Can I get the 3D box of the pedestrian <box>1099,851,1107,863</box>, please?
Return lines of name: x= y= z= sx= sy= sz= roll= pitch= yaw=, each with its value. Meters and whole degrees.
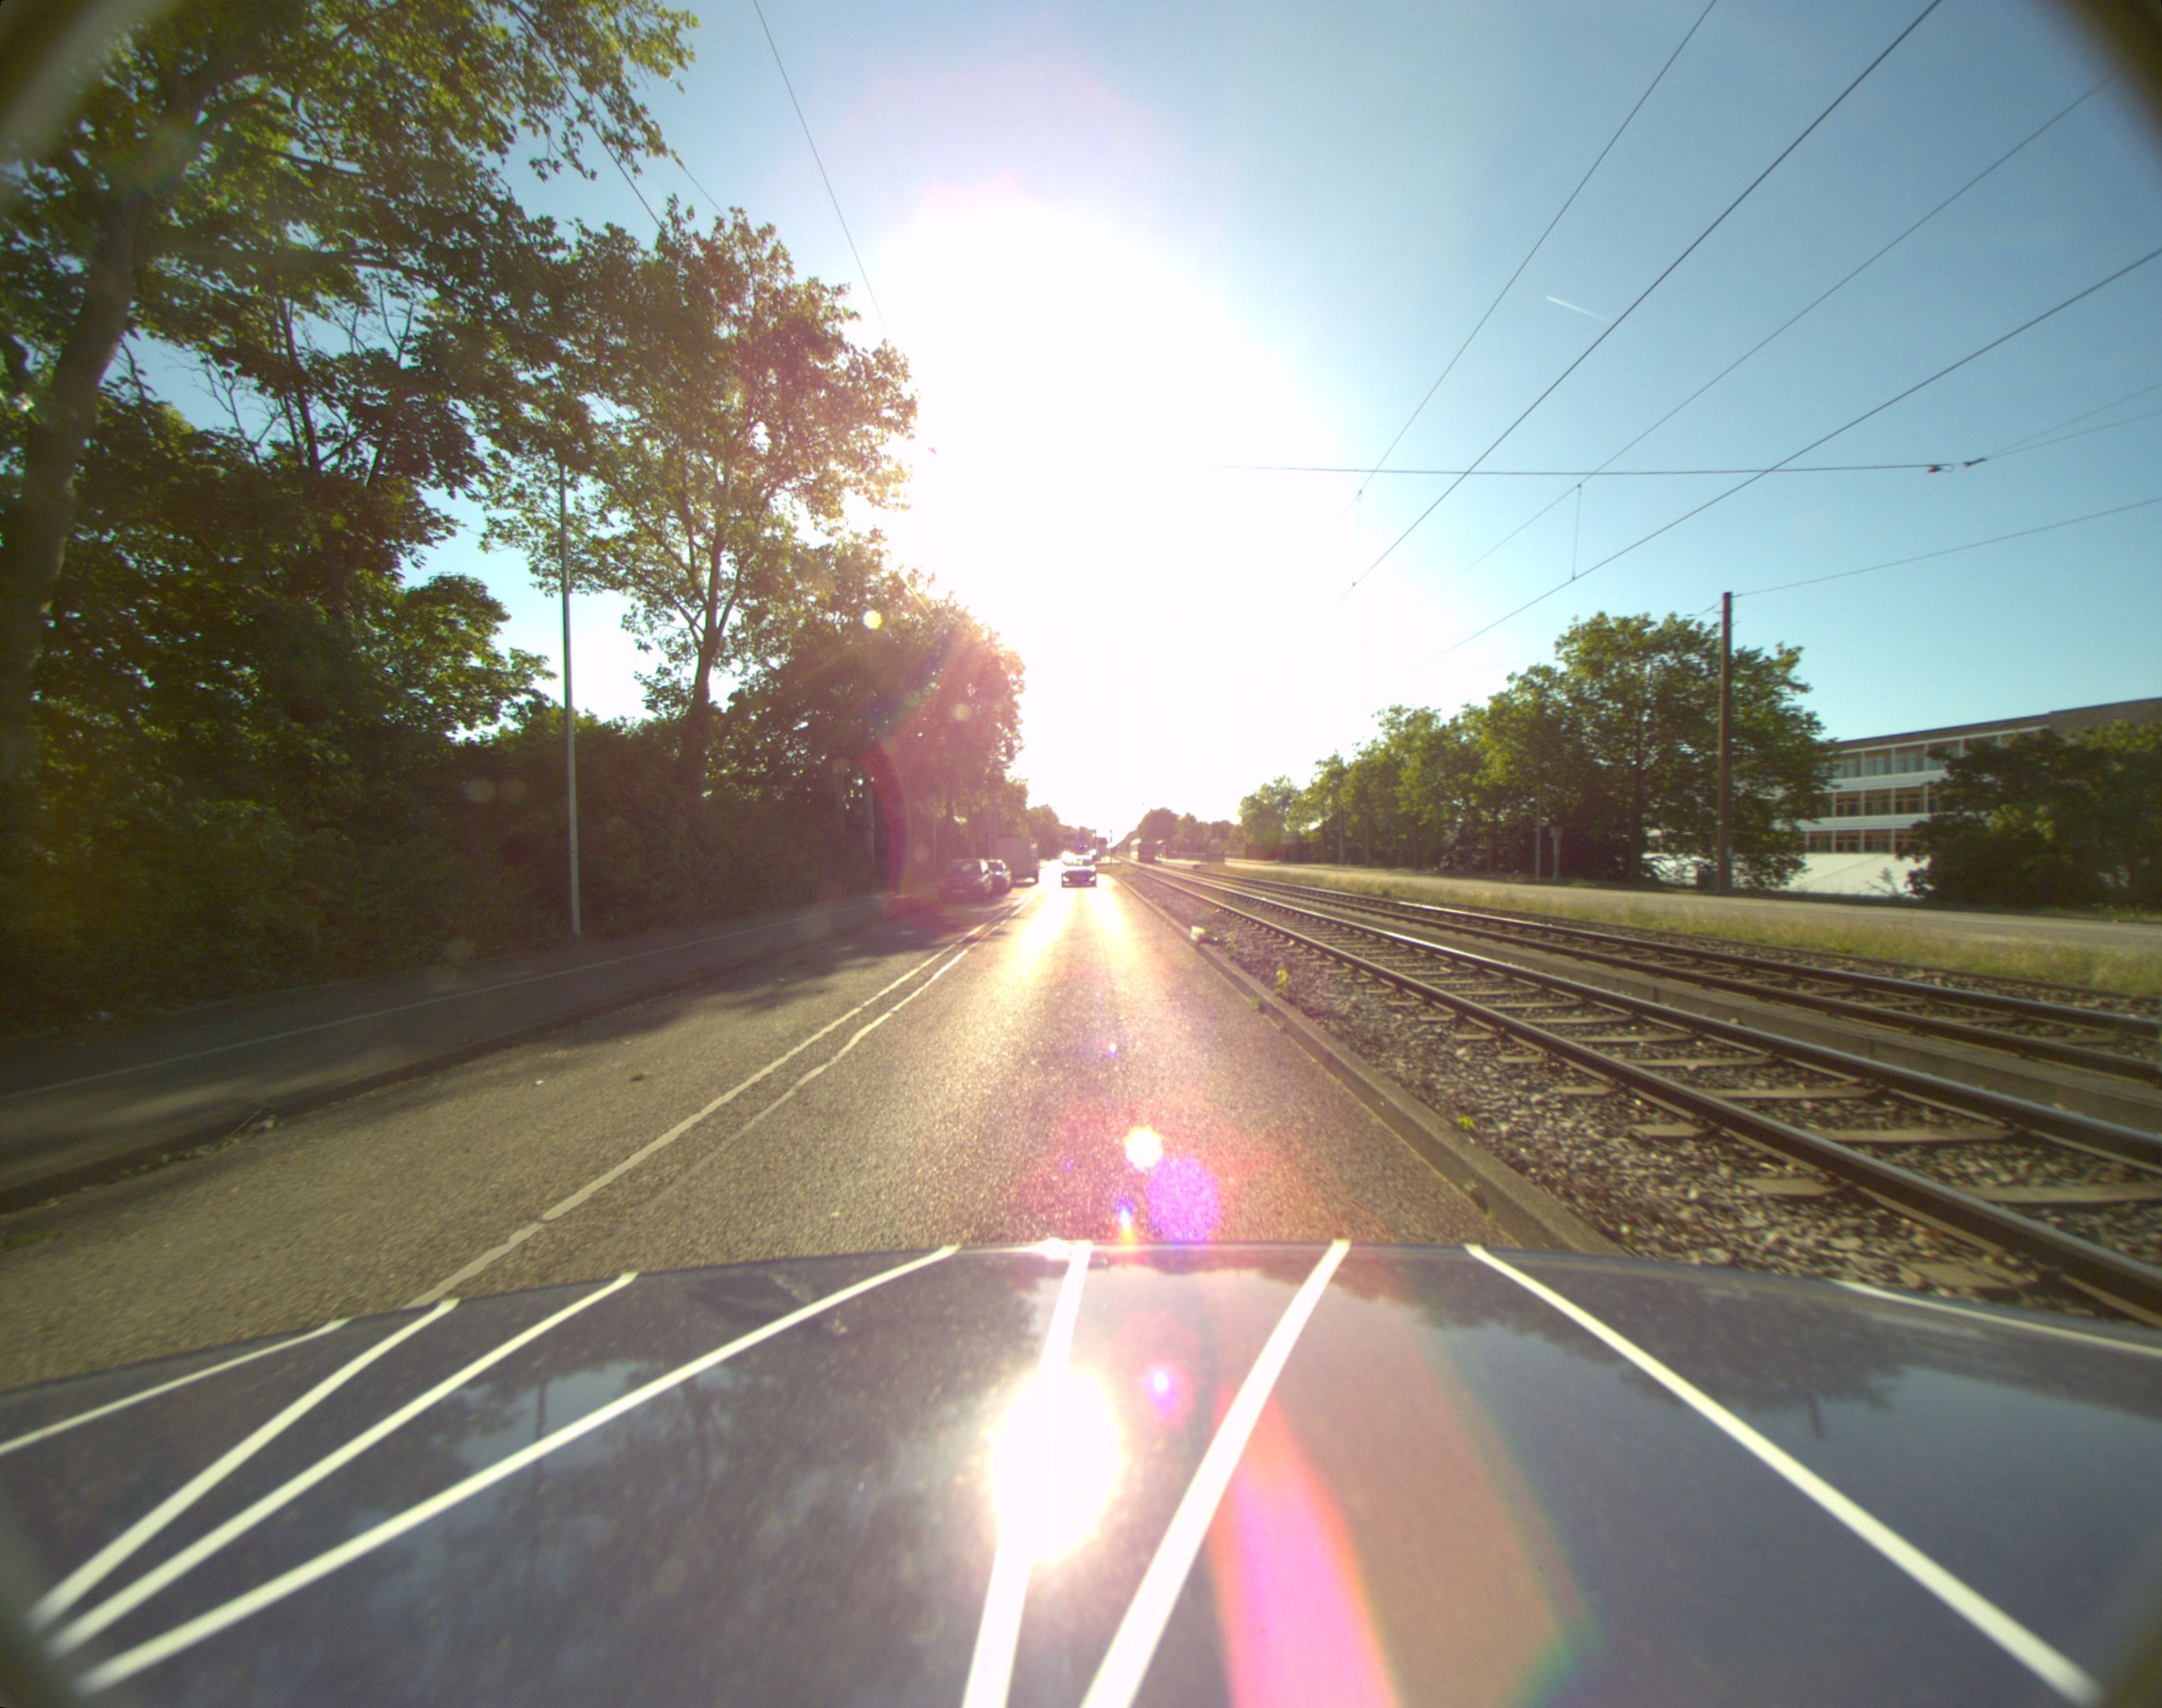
pedestrian: x=2.758 y=0.354 z=94.851 sx=0.760 sy=1.485 sz=0.696 roll=-1 pitch=1 yaw=34

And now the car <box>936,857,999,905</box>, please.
car: x=-4.122 y=0.954 z=28.150 sx=1.644 sy=1.528 sz=3.640 roll=-4 pitch=0 yaw=1

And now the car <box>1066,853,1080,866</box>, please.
car: x=-1.082 y=0.742 z=101.283 sx=1.784 sy=1.586 sz=4.000 roll=-1 pitch=0 yaw=1

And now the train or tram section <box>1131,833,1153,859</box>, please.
train or tram section: x=10.220 y=-1.387 z=129.000 sx=2.834 sy=3.983 sz=15.874 roll=-2 pitch=1 yaw=2

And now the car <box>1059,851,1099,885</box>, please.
car: x=-0.055 y=0.685 z=38.641 sx=1.786 sy=1.530 sz=4.000 roll=-3 pitch=0 yaw=2

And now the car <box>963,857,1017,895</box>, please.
car: x=-3.933 y=0.923 z=33.337 sx=1.813 sy=1.448 sz=4.165 roll=-3 pitch=1 yaw=0

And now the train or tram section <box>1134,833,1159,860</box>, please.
train or tram section: x=9.761 y=-1.158 z=114.612 sx=2.834 sy=3.665 sz=12.968 roll=-2 pitch=1 yaw=2

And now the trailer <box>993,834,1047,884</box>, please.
trailer: x=-3.528 y=0.255 z=45.116 sx=2.256 sy=2.679 sz=5.948 roll=-2 pitch=1 yaw=4
